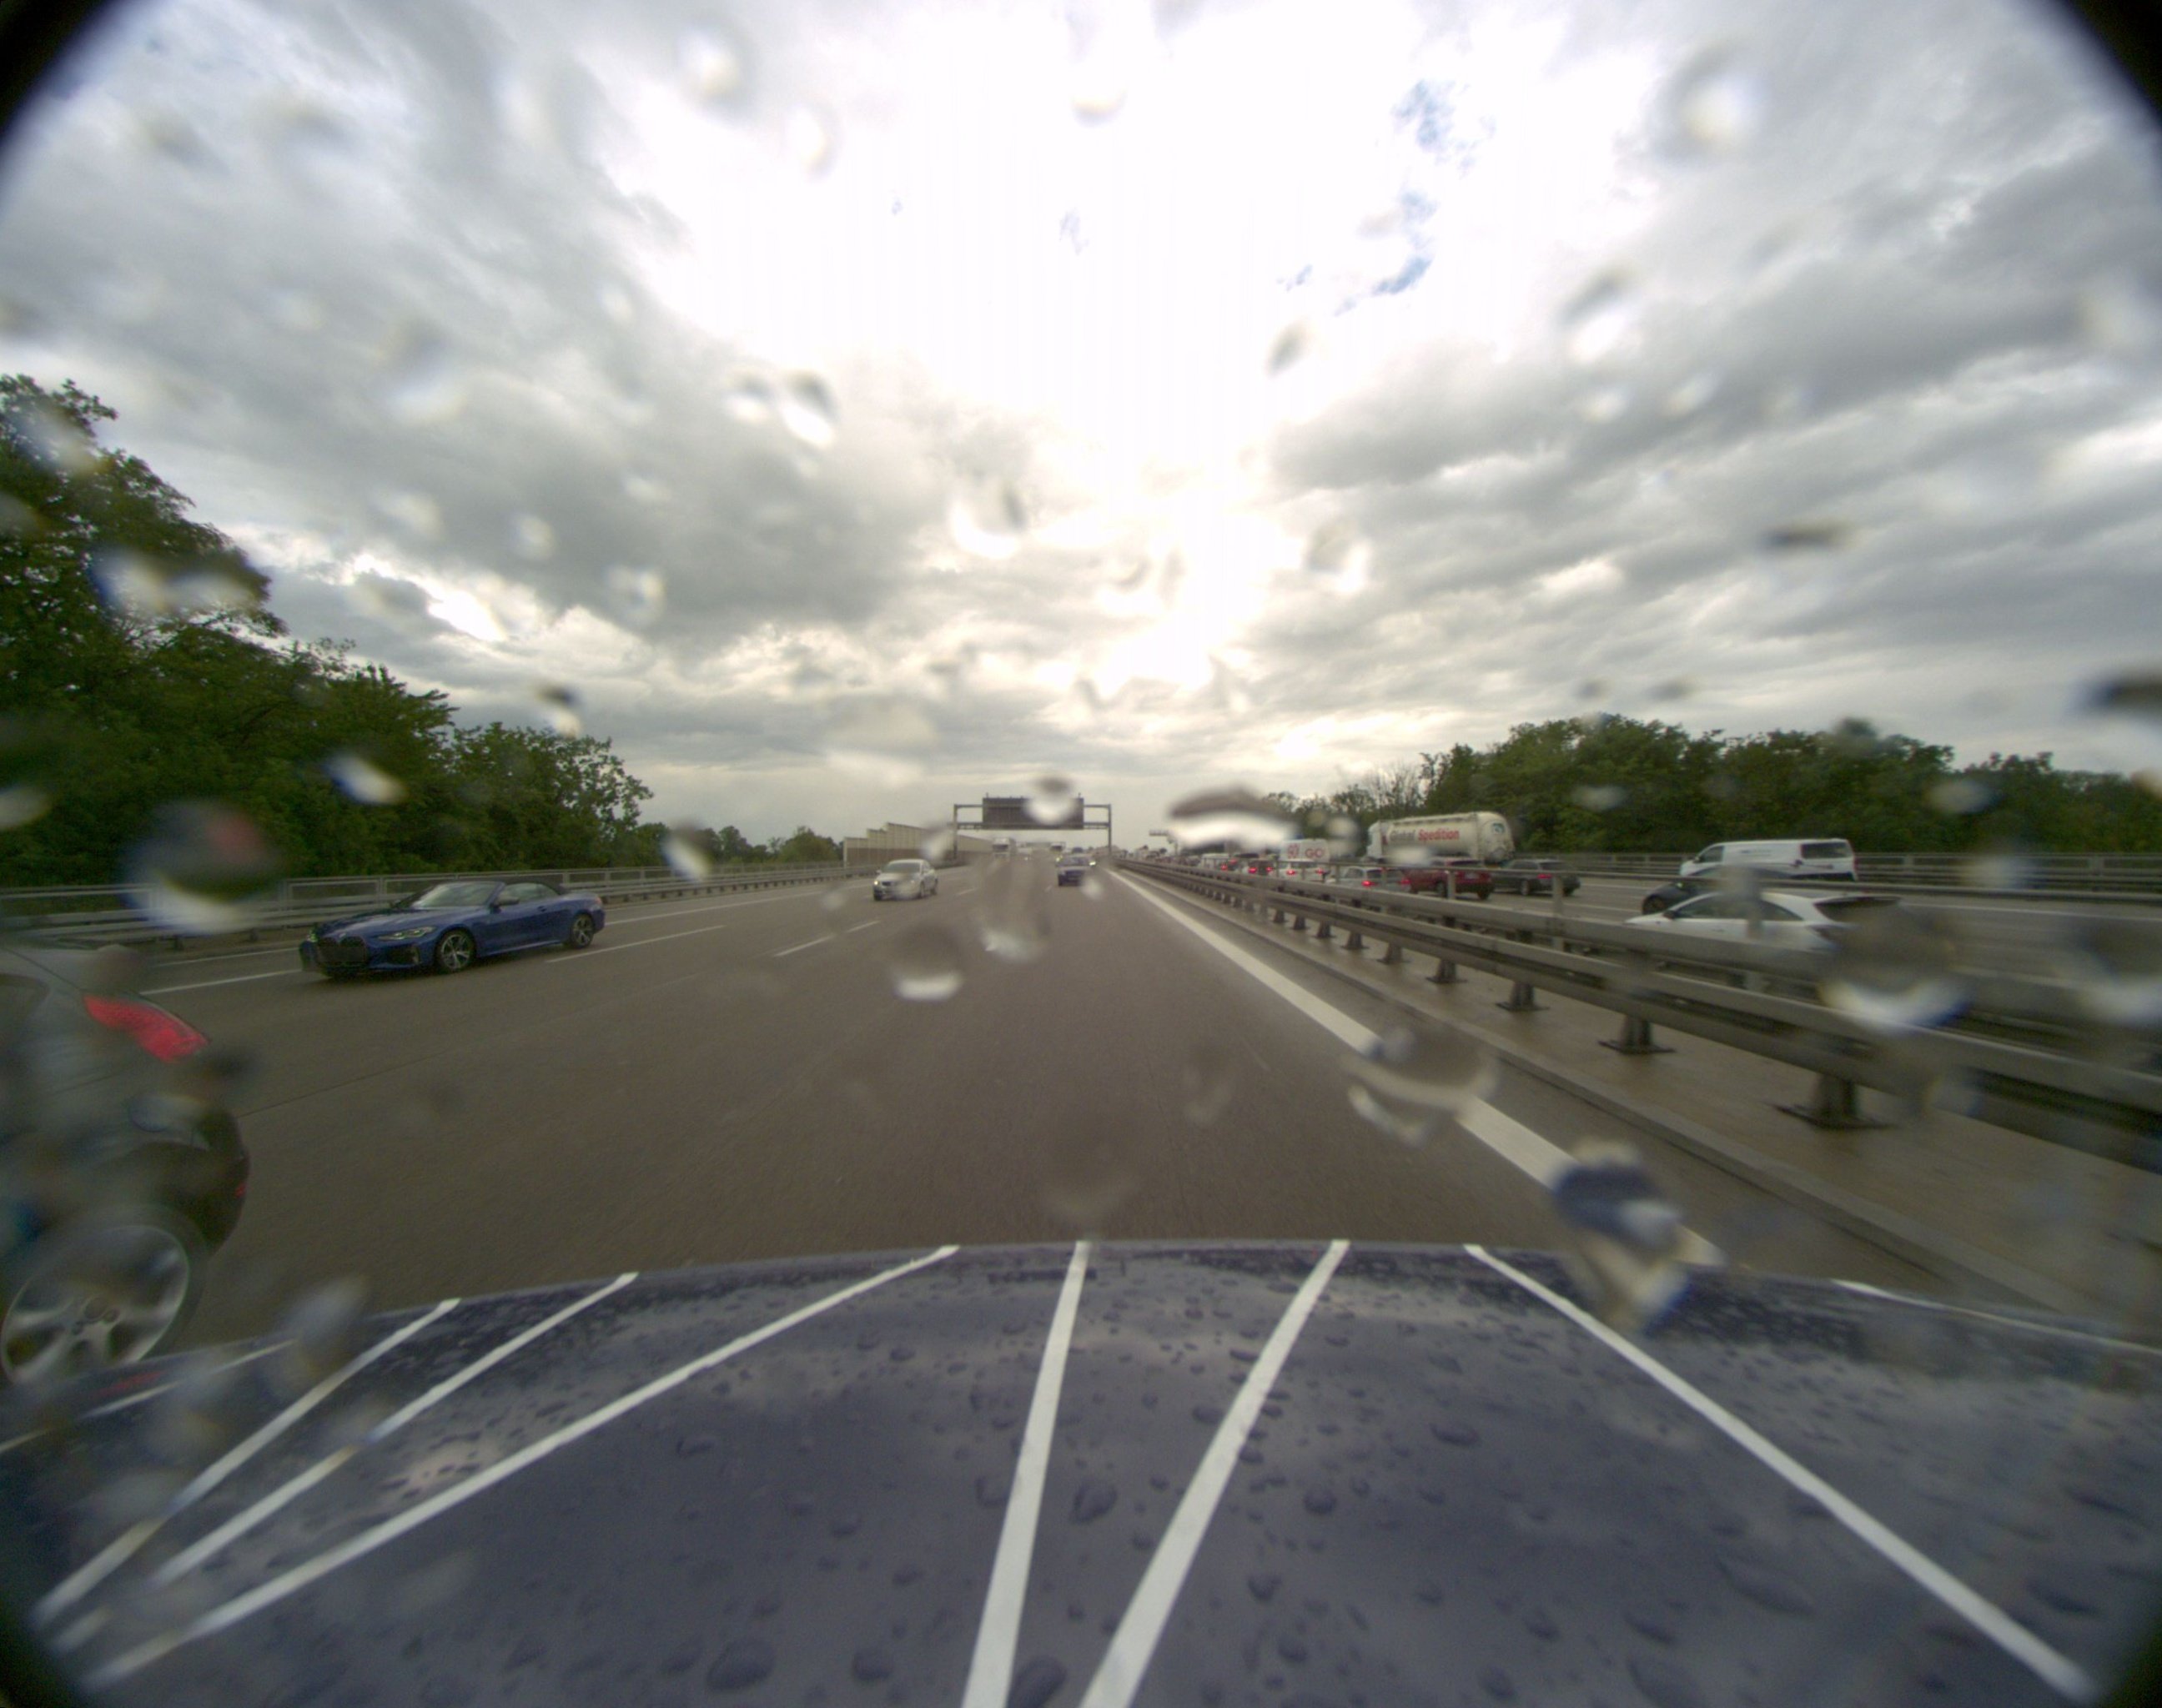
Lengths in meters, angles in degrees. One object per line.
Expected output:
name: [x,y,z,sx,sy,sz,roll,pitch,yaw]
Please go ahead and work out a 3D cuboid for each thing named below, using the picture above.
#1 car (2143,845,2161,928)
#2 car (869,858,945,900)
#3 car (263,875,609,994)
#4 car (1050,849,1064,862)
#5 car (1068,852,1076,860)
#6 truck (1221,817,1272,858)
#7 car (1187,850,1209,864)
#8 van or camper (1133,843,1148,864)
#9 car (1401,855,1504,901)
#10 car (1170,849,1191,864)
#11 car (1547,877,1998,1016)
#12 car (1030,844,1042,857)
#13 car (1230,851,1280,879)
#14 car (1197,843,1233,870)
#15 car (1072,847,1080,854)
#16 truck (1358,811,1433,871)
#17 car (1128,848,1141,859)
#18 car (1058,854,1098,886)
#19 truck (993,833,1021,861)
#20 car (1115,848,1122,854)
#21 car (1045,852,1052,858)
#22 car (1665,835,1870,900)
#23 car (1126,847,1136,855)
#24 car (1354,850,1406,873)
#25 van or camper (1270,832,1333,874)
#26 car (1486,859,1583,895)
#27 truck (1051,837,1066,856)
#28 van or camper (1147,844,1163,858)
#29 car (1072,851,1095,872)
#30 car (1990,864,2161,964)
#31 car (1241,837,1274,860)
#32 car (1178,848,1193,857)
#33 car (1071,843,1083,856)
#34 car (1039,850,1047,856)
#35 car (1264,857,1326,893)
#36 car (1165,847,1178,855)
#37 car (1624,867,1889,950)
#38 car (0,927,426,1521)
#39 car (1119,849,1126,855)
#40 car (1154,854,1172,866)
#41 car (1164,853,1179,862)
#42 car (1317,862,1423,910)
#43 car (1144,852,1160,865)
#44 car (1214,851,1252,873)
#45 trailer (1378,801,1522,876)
car: [22.186,0.651,12.944,1.691,1.638,4.668,-1,1,1]
car: [-6.597,0.910,29.266,1.898,1.438,4.245,-1,0,0]
car: [-10.177,1.153,12.602,1.781,1.438,4.587,-1,0,0]
car: [-3.422,0.234,108.293,1.962,1.831,3.999,-1,1,0]
car: [-2.132,0.407,185.258,1.998,1.805,4.000,-1,0,0]
truck: [18.449,-1.727,85.501,3.266,4.268,10.867,-1,0,0]
car: [14.182,0.384,92.446,1.932,1.606,4.421,-1,0,0]
van or camper: [9.604,-0.061,122.296,2.007,3.382,4.368,-1,0,-1]
car: [14.498,0.863,29.958,1.836,1.638,4.419,-1,0,-1]
car: [10.093,0.239,77.395,1.673,1.497,4.000,-1,0,0]
car: [10.188,1.206,12.160,1.836,1.467,5.923,-1,0,0]
car: [-9.023,-0.697,151.313,2.036,2.587,4.513,-1,1,1]
car: [10.107,0.589,44.431,1.794,1.501,4.602,-1,0,-1]
car: [10.399,0.186,59.353,1.858,1.974,5.037,-1,0,-1]
car: [-1.371,-0.945,214.519,1.998,2.002,3.507,-2,1,1]
truck: [22.149,-0.863,53.909,2.468,3.942,6.982,-1,0,0]
car: [10.018,-0.157,142.638,1.998,1.956,4.000,-1,0,0]
car: [-0.142,0.740,37.372,1.781,1.399,5.016,-1,0,0]
truck: [-11.318,-1.054,117.220,3.255,3.884,12.311,-2,1,-2]
car: [9.200,-0.650,187.141,1.489,1.467,4.032,-1,1,0]
car: [-10.595,0.210,245.128,1.998,1.805,4.000,-1,0,0]
car: [22.802,0.383,25.643,2.008,1.933,5.420,-1,1,0]
car: [9.964,-0.646,152.796,1.737,1.565,4.000,-1,0,0]
car: [18.265,0.425,46.576,1.502,1.358,4.323,-1,0,0]
van or camper: [14.559,-0.100,50.724,2.039,2.589,7.457,-1,1,0]
car: [18.122,0.885,30.557,1.502,1.260,3.999,-1,1,0]
truck: [-5.134,-1.640,168.769,2.958,3.777,12.324,-2,1,-3]
van or camper: [13.939,-0.613,143.065,2.455,2.562,5.420,-1,0,0]
car: [0.187,0.571,60.760,1.751,1.489,4.014,-1,1,0]
car: [17.812,0.962,11.825,1.836,1.503,4.584,-1,0,0]
car: [14.552,-0.450,62.897,1.709,1.829,4.114,-1,0,-1]
car: [18.152,-0.236,131.678,2.025,1.504,3.999,-1,1,0]
car: [-0.694,-0.868,140.968,1.998,2.354,4.172,-2,1,1]
car: [-9.694,-0.236,193.246,1.884,1.501,4.213,-1,0,0]
car: [10.533,0.999,37.733,1.794,1.618,4.927,-1,0,1]
car: [17.506,-0.512,146.582,2.025,1.504,4.000,-1,0,0]
car: [14.511,1.077,16.780,1.836,1.467,4.576,-1,0,1]
car: [-3.674,1.060,1.085,1.668,1.431,4.404,-1,0,-1]
car: [11.593,-0.646,213.442,1.737,1.565,4.000,-1,0,0]
car: [10.054,0.753,93.363,1.757,1.464,4.034,-1,0,-1]
car: [14.856,0.589,124.511,2.025,1.504,4.000,-1,0,0]
car: [10.439,1.107,27.891,1.957,1.506,5.070,-1,0,0]
car: [10.063,0.646,108.599,1.826,1.831,4.034,-1,0,-1]
car: [10.479,0.536,52.684,1.684,1.480,4.226,-1,0,-1]
trailer: [22.131,-0.847,46.907,2.468,3.935,13.218,-1,0,0]
